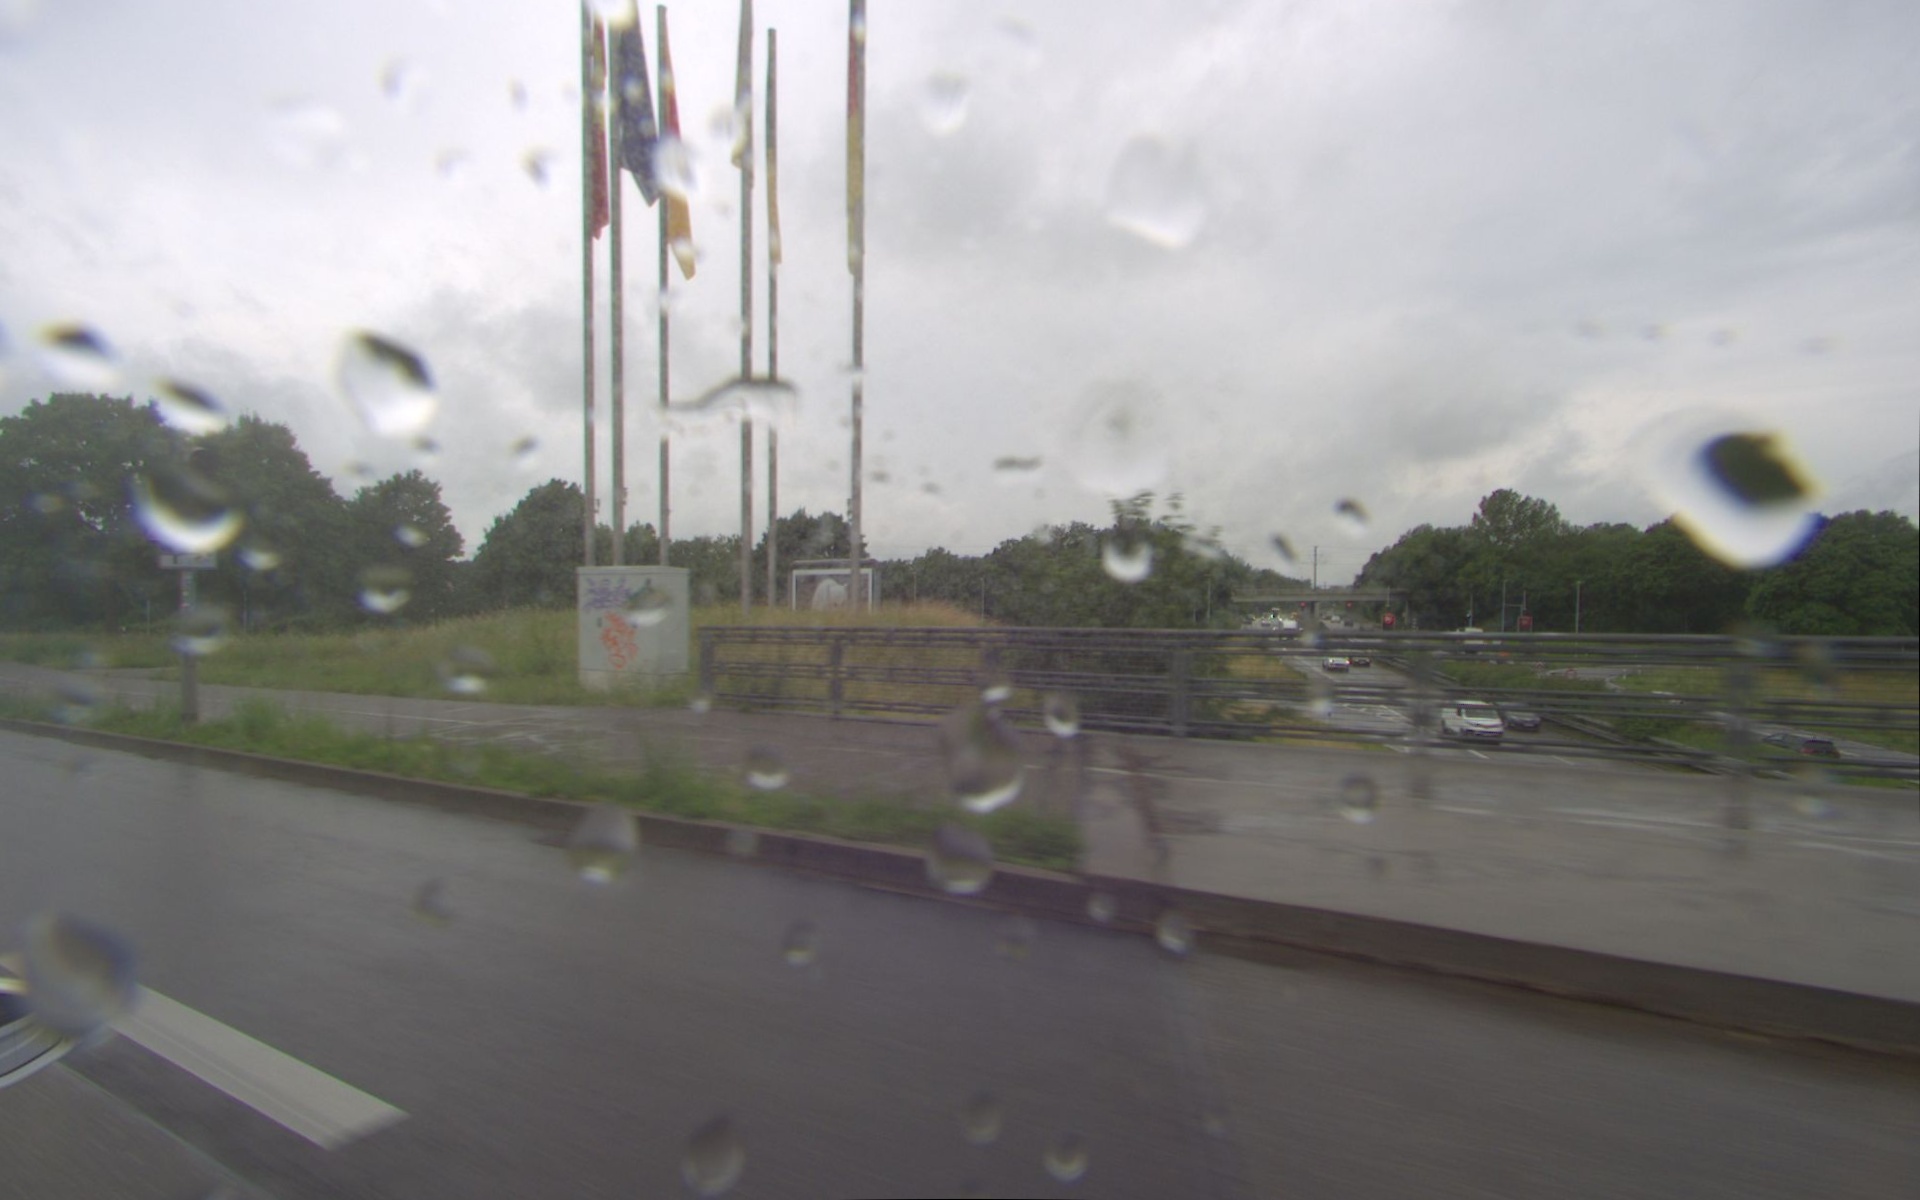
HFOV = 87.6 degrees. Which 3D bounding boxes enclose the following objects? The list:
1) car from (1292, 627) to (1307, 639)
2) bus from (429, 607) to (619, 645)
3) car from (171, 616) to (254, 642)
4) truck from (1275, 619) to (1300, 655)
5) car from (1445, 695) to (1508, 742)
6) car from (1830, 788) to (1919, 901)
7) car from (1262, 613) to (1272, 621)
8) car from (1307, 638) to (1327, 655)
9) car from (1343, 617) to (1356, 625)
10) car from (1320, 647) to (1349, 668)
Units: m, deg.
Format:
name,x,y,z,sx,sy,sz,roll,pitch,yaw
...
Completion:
name,x,y,z,sx,sy,sz,roll,pitch,yaw
car,57.073,5.534,168.369,1.963,1.962,4.739,0,0,15
bus,-36.320,2.114,84.005,14.386,2.716,2.747,-1,2,-31
car,-48.447,1.876,64.970,1.827,1.639,3.994,0,-1,18
truck,44.667,4.899,136.613,2.584,4.596,10.503,0,0,15
car,27.179,6.195,52.798,1.962,1.977,3.997,1,0,12
car,22.336,5.664,22.086,2.255,1.990,5.616,1,-1,12
car,69.138,3.894,225.525,1.893,1.740,3.994,2,0,17
car,46.366,5.991,130.056,1.963,1.962,4.739,0,0,15
car,78.740,4.243,202.480,1.963,1.613,3.996,1,-1,15
car,35.623,5.454,95.280,1.962,1.720,4.741,0,0,13
